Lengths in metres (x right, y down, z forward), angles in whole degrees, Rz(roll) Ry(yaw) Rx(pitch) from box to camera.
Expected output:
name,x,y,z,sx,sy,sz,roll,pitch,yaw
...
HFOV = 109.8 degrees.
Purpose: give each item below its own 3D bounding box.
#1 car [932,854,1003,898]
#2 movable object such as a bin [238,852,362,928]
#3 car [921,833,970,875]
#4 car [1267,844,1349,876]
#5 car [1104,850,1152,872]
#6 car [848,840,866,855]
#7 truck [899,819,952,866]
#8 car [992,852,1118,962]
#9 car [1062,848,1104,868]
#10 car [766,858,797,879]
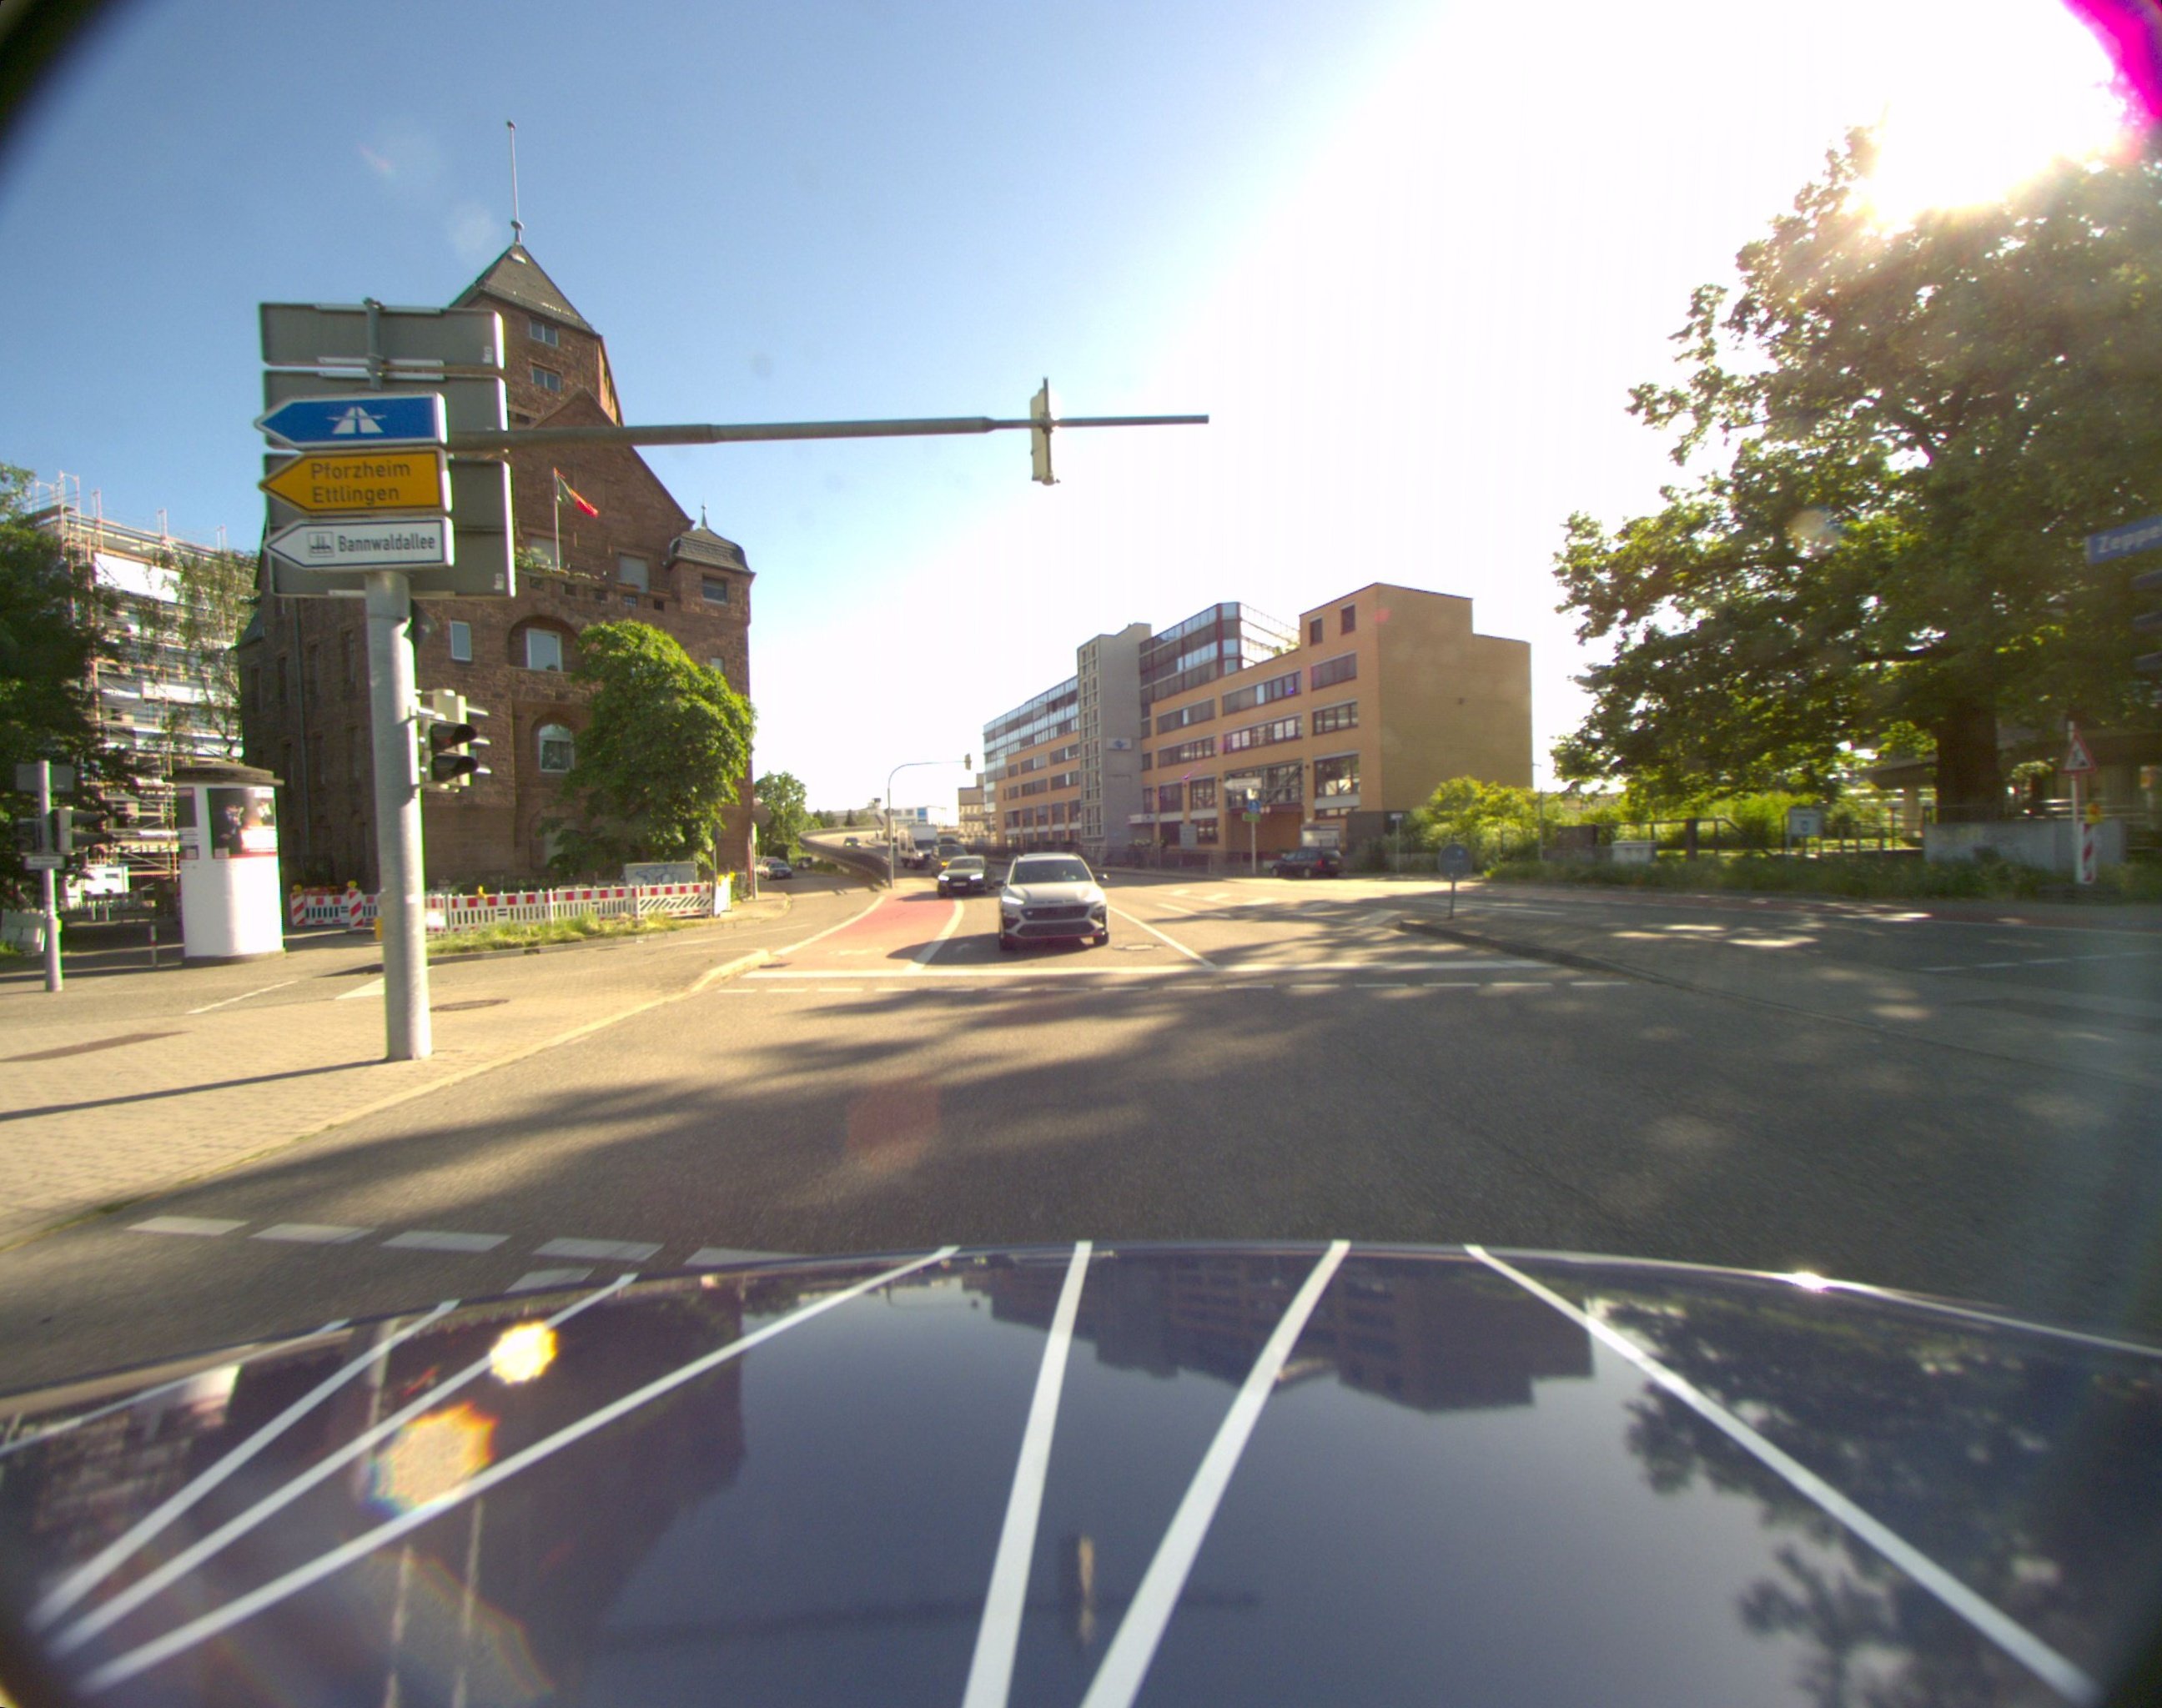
name,x,y,z,sx,sy,sz,roll,pitch,yaw
car,-4.329,0.802,29.709,1.878,1.462,4.635,-2,1,2
movable object such as a bin,-26.884,1.198,26.145,3.989,2.395,2.004,-2,1,31
car,-7.868,0.002,43.773,1.953,2.248,4.777,-2,1,-20
car,11.390,0.327,38.418,1.661,1.500,4.372,0,-1,-21
car,3.467,0.499,56.864,1.641,1.515,4.151,-2,1,-28
car,-28.036,-0.823,94.935,1.759,1.749,4.776,-2,1,-21
truck,-11.395,-0.781,55.194,2.507,3.110,6.947,-2,1,-21
car,-0.638,0.809,13.904,1.880,1.612,4.193,-2,1,-7
car,0.095,0.339,64.088,1.883,1.515,4.152,-2,1,-26
car,-24.635,1.169,62.466,2.056,1.523,4.084,-3,1,-25
